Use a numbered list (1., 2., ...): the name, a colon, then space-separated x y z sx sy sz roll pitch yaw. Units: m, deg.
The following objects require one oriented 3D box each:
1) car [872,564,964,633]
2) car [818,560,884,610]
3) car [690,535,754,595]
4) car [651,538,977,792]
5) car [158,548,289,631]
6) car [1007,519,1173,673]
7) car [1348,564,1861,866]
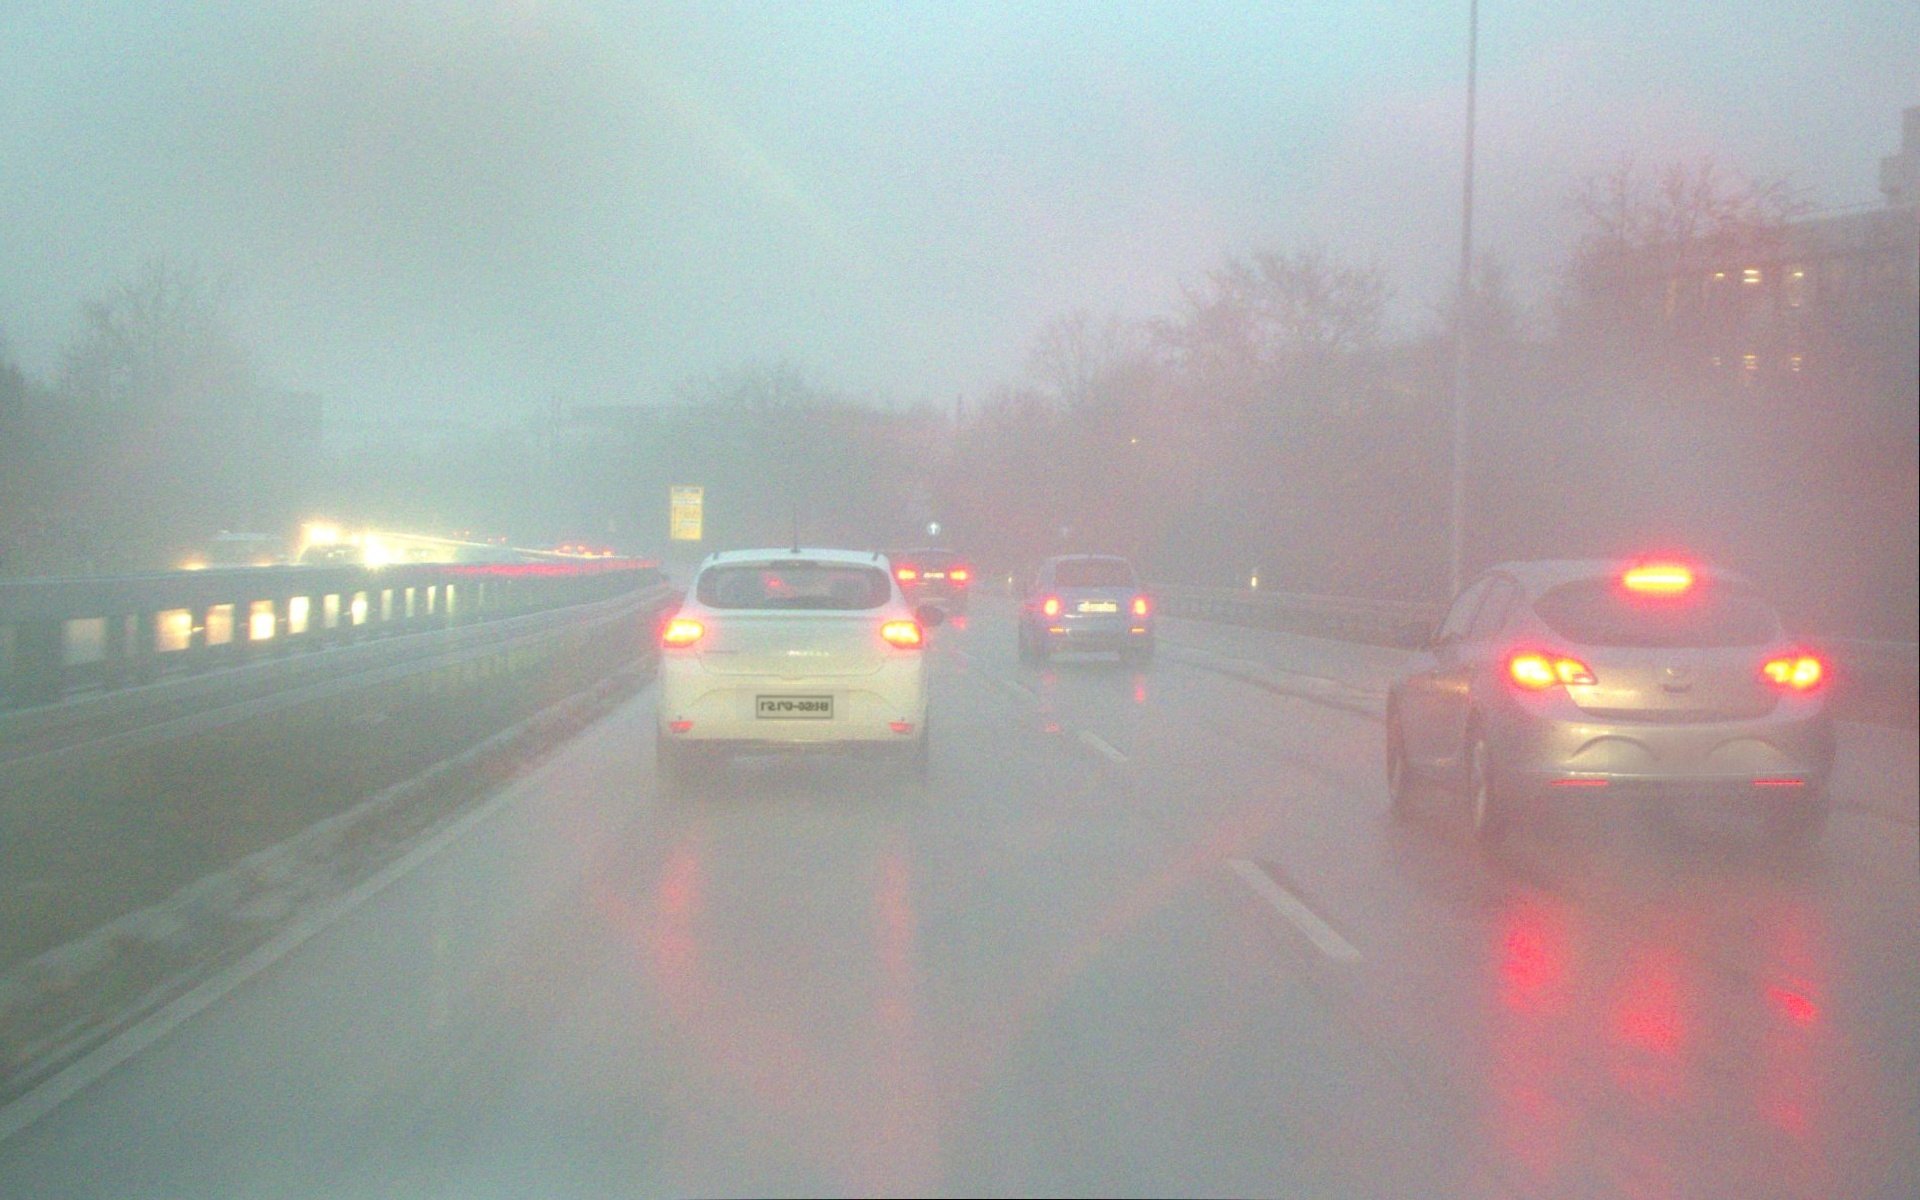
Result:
1. car: -1.078 -0.055 87.047 1.932 1.541 3.774 -5 1 -5
2. car: -3.523 -0.494 110.440 1.932 1.541 3.774 1 1 -4
3. car: -8.176 -1.218 118.515 1.993 2.007 4.000 1 1 -1
4. car: -1.088 0.390 23.586 2.024 1.569 4.001 1 1 -5
5. car: -15.161 -0.230 70.957 1.866 1.622 4.780 1 1 -3
6. car: 1.745 -0.069 47.391 1.932 2.012 3.774 1 1 -3
7. car: 3.495 0.563 19.480 1.849 1.496 4.263 1 1 -3
